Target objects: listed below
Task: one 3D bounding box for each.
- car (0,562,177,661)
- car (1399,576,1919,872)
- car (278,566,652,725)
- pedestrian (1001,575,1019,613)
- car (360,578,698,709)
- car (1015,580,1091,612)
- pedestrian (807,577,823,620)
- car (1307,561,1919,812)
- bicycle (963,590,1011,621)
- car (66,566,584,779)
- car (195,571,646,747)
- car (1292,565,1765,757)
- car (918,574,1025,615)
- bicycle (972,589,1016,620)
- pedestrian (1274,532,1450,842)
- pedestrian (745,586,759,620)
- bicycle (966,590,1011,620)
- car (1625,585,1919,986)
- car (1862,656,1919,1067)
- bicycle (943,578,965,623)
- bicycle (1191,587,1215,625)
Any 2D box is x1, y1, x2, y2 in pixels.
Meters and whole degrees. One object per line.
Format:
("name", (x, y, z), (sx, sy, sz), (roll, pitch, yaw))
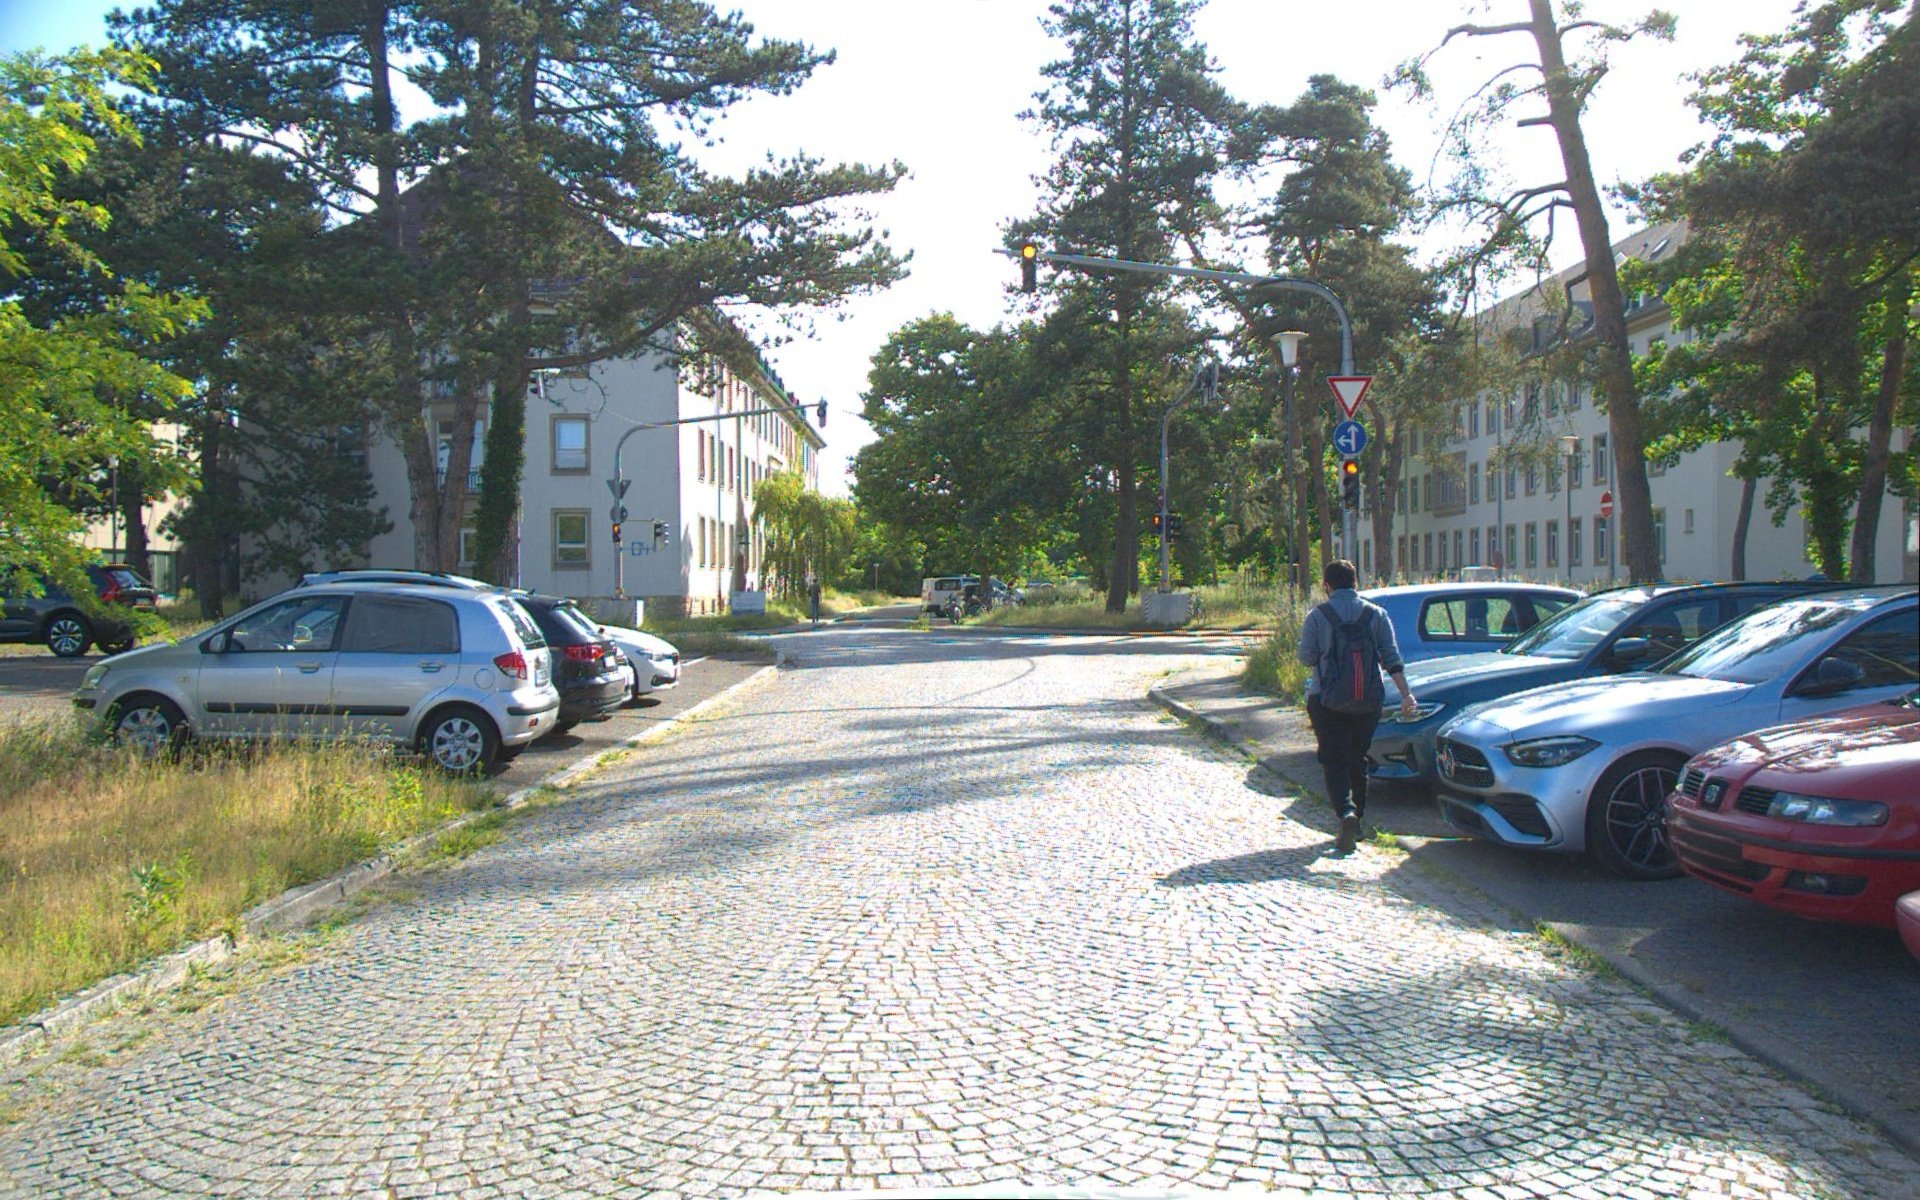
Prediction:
("car", (-16.209, 0.197, 28.900), (4.059, 1.636, 2.010), (-1, 1, 0))
("car", (4.916, 0.605, 9.433), (4.310, 1.413, 1.788), (-2, 1, -2))
("car", (-5.638, 0.496, 19.165), (3.801, 1.643, 1.660), (2, 0, -2))
("pedestrian", (2.419, -0.306, 79.852), (0.745, 1.815, 0.683), (-1, 0, -8))
("car", (-5.594, 0.528, 21.756), (3.903, 1.522, 1.774), (2, 1, 4))
("car", (4.798, -0.209, 85.509), (3.673, 1.607, 1.738), (0, 0, -8))
("pedestrian", (-6.039, -0.075, 68.928), (0.594, 1.783, 0.630), (0, 0, -1))
("car", (5.051, 0.558, 12.174), (4.528, 1.481, 1.869), (-3, 1, -3))
("bicycle", (1.036, 0.208, 63.602), (1.798, 1.131, 0.495), (-1, 0, -4))
("car", (-5.126, 0.562, 13.741), (3.612, 1.554, 1.698), (2, 0, -3))
("car", (-5.227, 0.548, 16.400), (3.858, 1.470, 1.690), (3, 0, -2))
("car", (4.940, 0.504, 14.706), (3.598, 1.468, 1.665), (-2, 0, -1))
("car", (0.539, -0.285, 81.484), (4.974, 1.951, 1.995), (-1, 1, -10))
("bicycle", (1.322, 0.158, 64.832), (1.693, 1.185, 0.560), (-1, 0, -4))
("pedestrian", (2.419, 0.502, 10.038), (0.738, 1.755, 0.828), (4, 0, -1))
("pedestrian", (-9.732, 0.126, 77.396), (0.595, 1.587, 0.544), (0, 0, -7))
("bicycle", (1.098, 0.203, 64.148), (1.693, 1.131, 0.484), (-1, 0, -4))
("car", (5.146, 0.662, 7.111), (3.898, 1.474, 1.655), (-1, 0, -1))
("car", (4.679, 0.817, 4.717), (3.390, 1.264, 1.536), (0, 0, 0))
("bicycle", (-0.222, 0.000, 60.027), (0.738, 1.608, 2.536), (0, 1, -1))
("bicycle", (7.630, 0.180, 51.785), (0.706, 1.134, 2.586), (-1, 0, 9))
